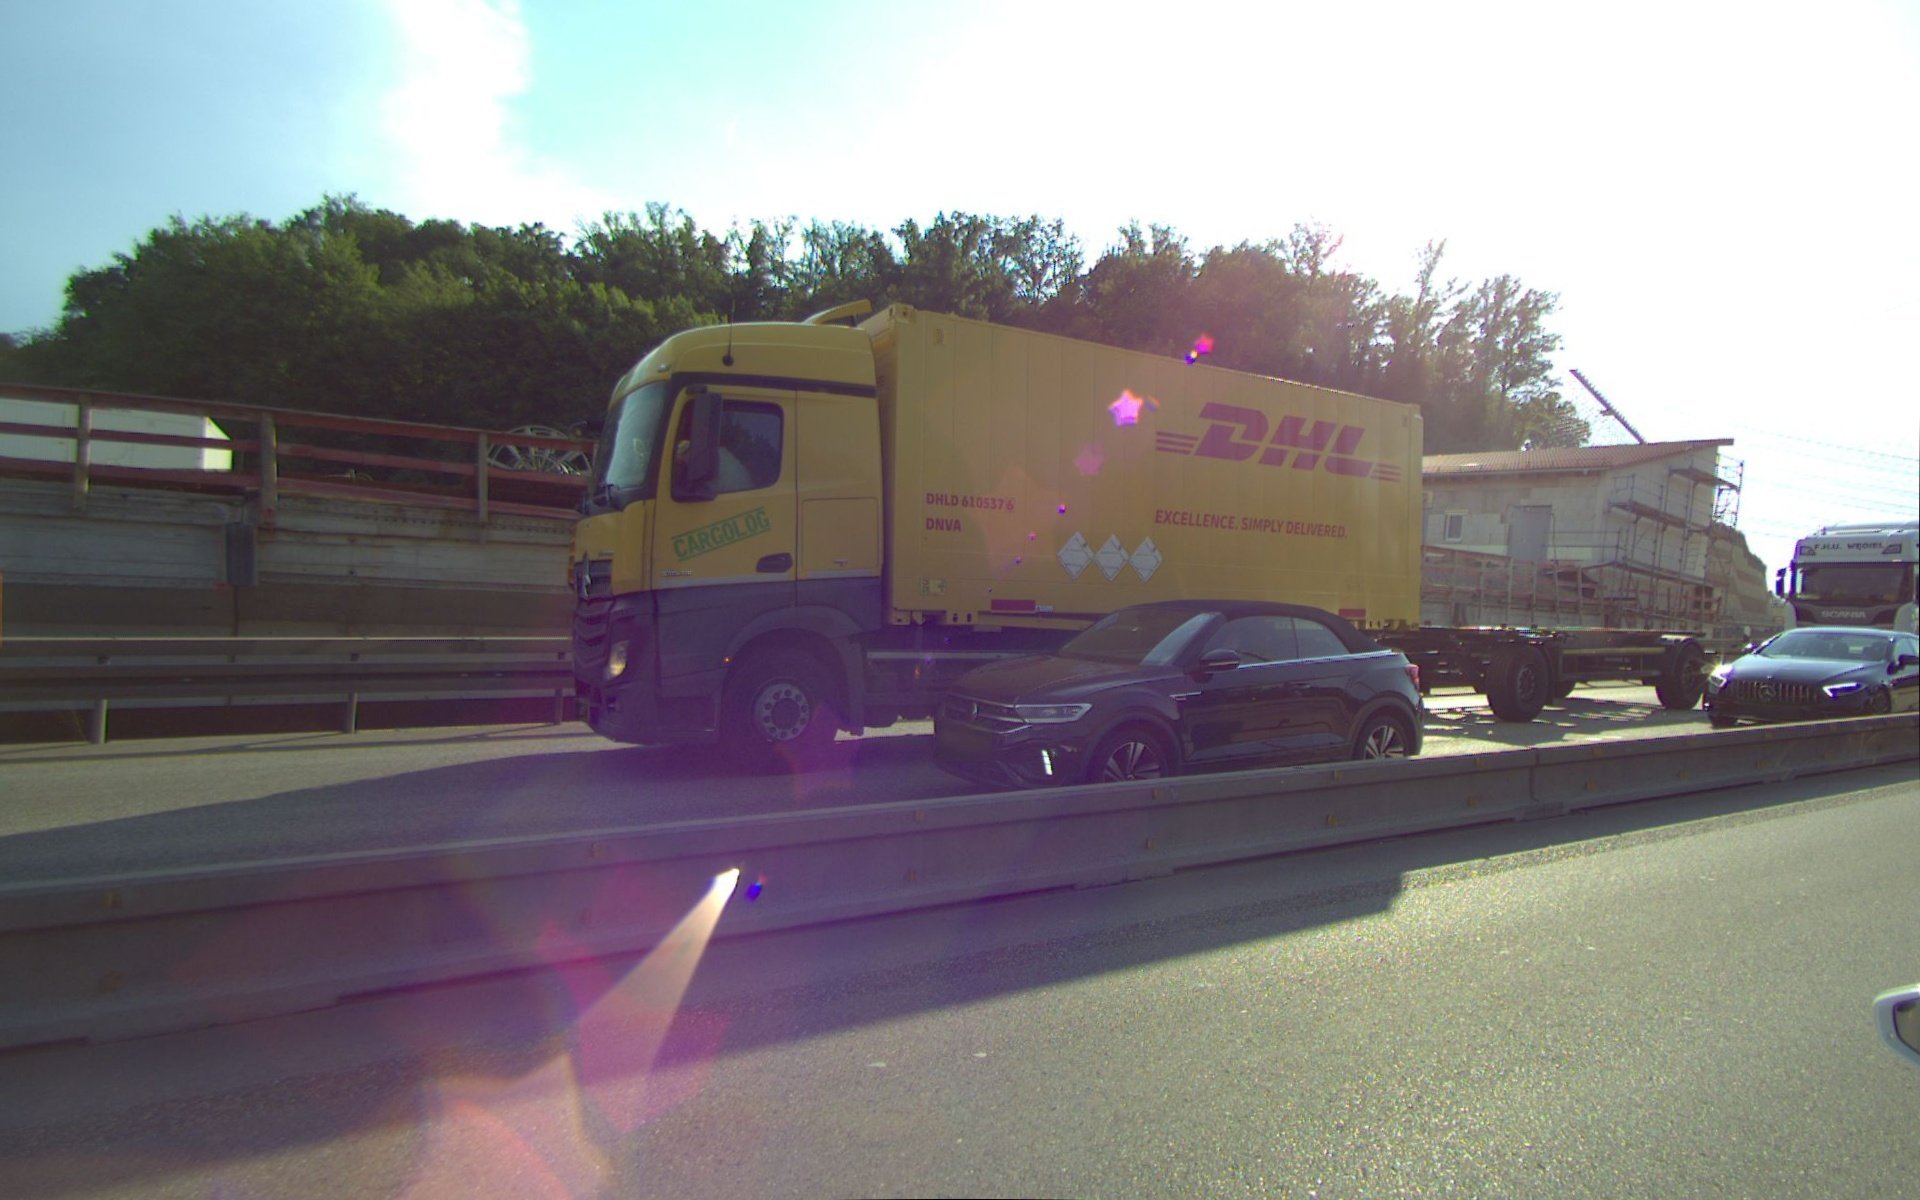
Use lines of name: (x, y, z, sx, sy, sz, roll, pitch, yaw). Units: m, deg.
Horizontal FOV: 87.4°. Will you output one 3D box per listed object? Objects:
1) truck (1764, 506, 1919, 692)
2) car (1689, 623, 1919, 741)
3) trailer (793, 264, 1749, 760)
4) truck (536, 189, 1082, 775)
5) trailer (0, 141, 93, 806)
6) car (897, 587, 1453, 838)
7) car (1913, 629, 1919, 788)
truck: (25.832, 0.111, 26.721, 13.744, 4.023, 2.793, 1, -1, -33)
car: (12.602, 1.126, 14.402, 4.847, 1.420, 1.731, 3, -1, -31)
trailer: (5.693, -0.433, 13.857, 15.815, 4.259, 2.688, 3, -1, -31)
truck: (-1.435, -0.773, 9.562, 4.348, 4.252, 2.680, 3, -1, -31)
trailer: (-13.509, -1.080, 2.684, 16.553, 4.189, 2.702, 3, -1, -30)
car: (1.793, 0.775, 7.929, 4.241, 1.528, 1.708, 3, -1, -30)
car: (11.772, 1.110, 10.028, 5.161, 1.500, 1.931, 2, -2, -30)
